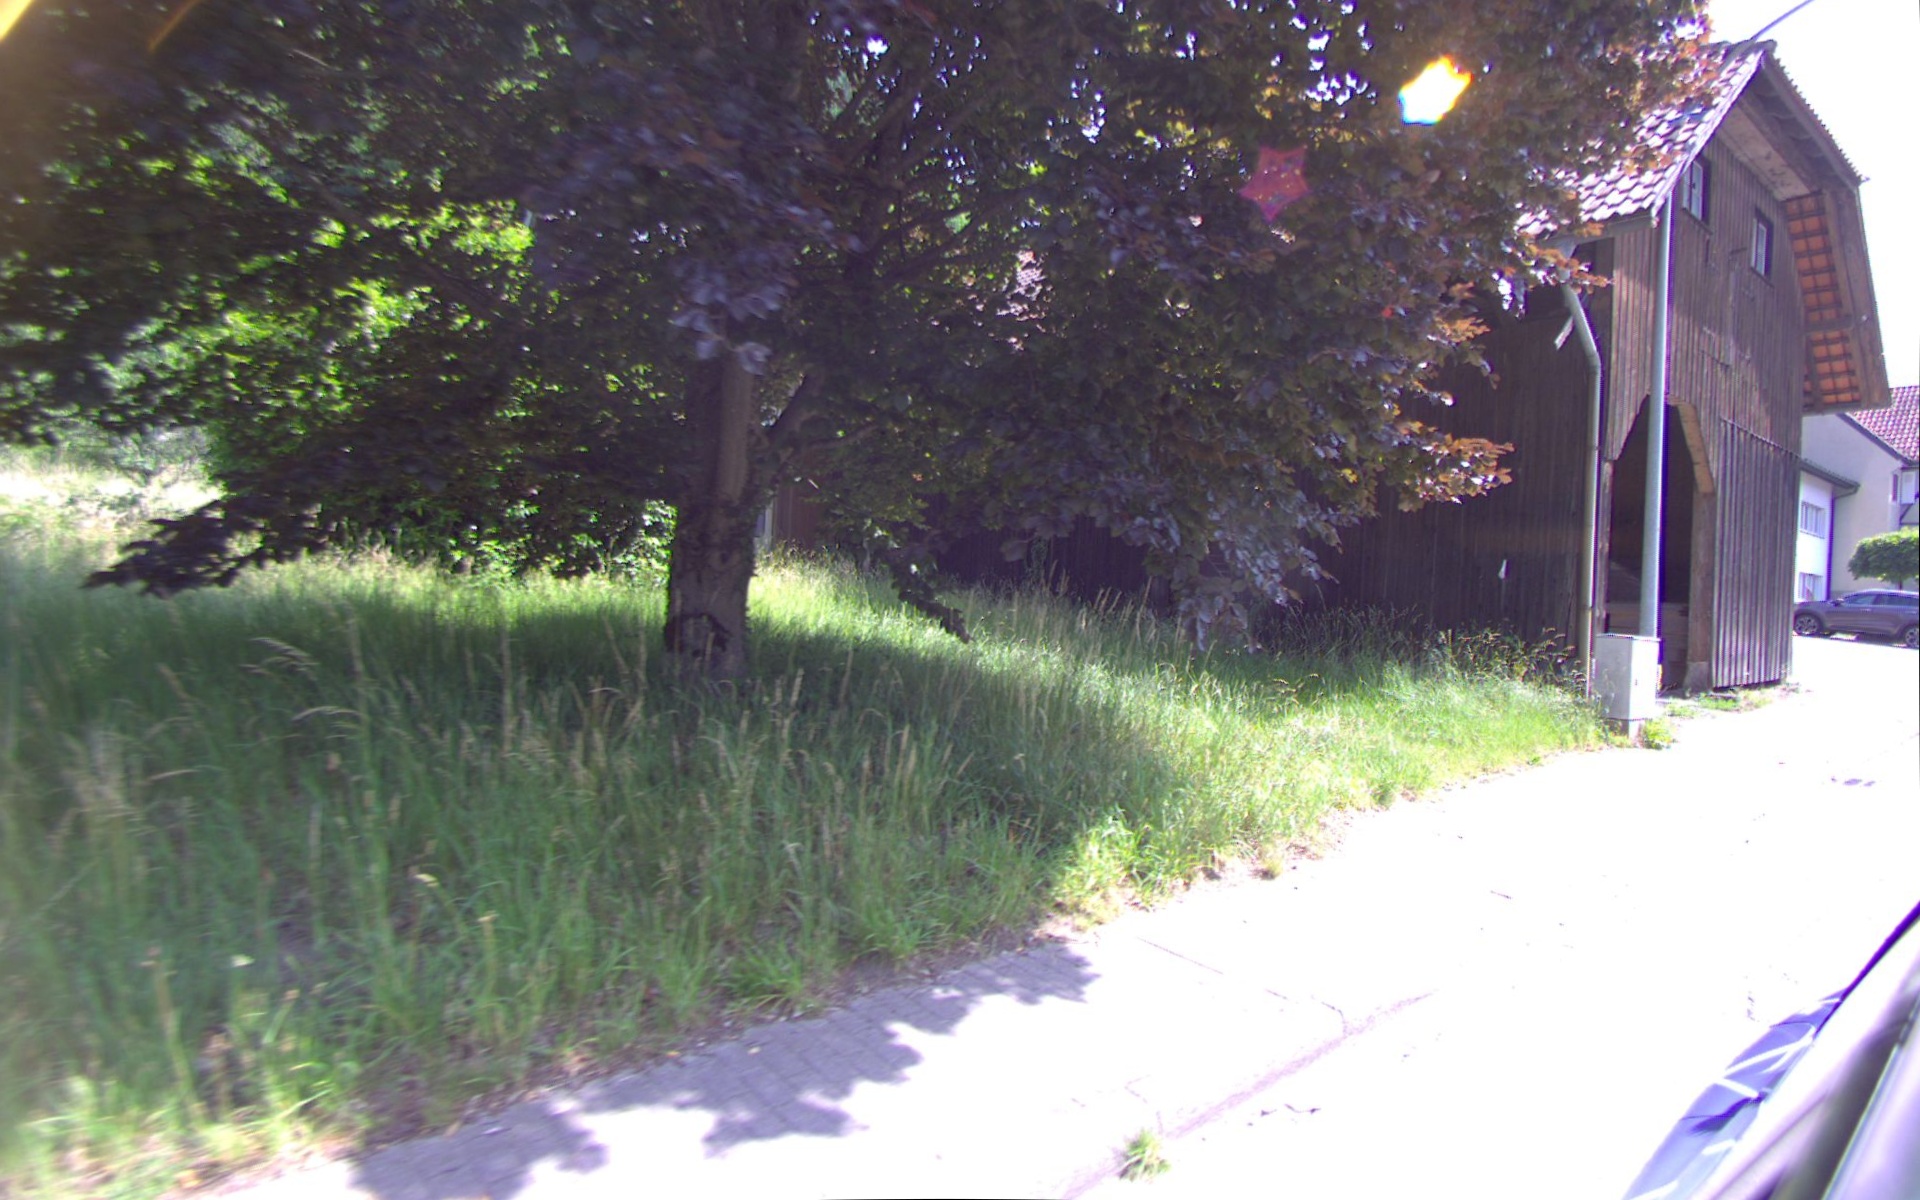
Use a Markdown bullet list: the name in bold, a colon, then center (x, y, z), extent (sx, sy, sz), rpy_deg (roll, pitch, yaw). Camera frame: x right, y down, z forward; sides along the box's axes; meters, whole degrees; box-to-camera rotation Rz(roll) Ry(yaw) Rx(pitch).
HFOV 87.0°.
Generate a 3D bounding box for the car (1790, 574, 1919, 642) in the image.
- **car**: center (28.241, 0.271, 30.728), extent (1.742, 1.706, 4.241), rpy_deg (1, 6, -33)

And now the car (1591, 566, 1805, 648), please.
- **car**: center (19.176, 0.112, 26.428), extent (1.920, 1.855, 4.136), rpy_deg (1, 2, -40)
